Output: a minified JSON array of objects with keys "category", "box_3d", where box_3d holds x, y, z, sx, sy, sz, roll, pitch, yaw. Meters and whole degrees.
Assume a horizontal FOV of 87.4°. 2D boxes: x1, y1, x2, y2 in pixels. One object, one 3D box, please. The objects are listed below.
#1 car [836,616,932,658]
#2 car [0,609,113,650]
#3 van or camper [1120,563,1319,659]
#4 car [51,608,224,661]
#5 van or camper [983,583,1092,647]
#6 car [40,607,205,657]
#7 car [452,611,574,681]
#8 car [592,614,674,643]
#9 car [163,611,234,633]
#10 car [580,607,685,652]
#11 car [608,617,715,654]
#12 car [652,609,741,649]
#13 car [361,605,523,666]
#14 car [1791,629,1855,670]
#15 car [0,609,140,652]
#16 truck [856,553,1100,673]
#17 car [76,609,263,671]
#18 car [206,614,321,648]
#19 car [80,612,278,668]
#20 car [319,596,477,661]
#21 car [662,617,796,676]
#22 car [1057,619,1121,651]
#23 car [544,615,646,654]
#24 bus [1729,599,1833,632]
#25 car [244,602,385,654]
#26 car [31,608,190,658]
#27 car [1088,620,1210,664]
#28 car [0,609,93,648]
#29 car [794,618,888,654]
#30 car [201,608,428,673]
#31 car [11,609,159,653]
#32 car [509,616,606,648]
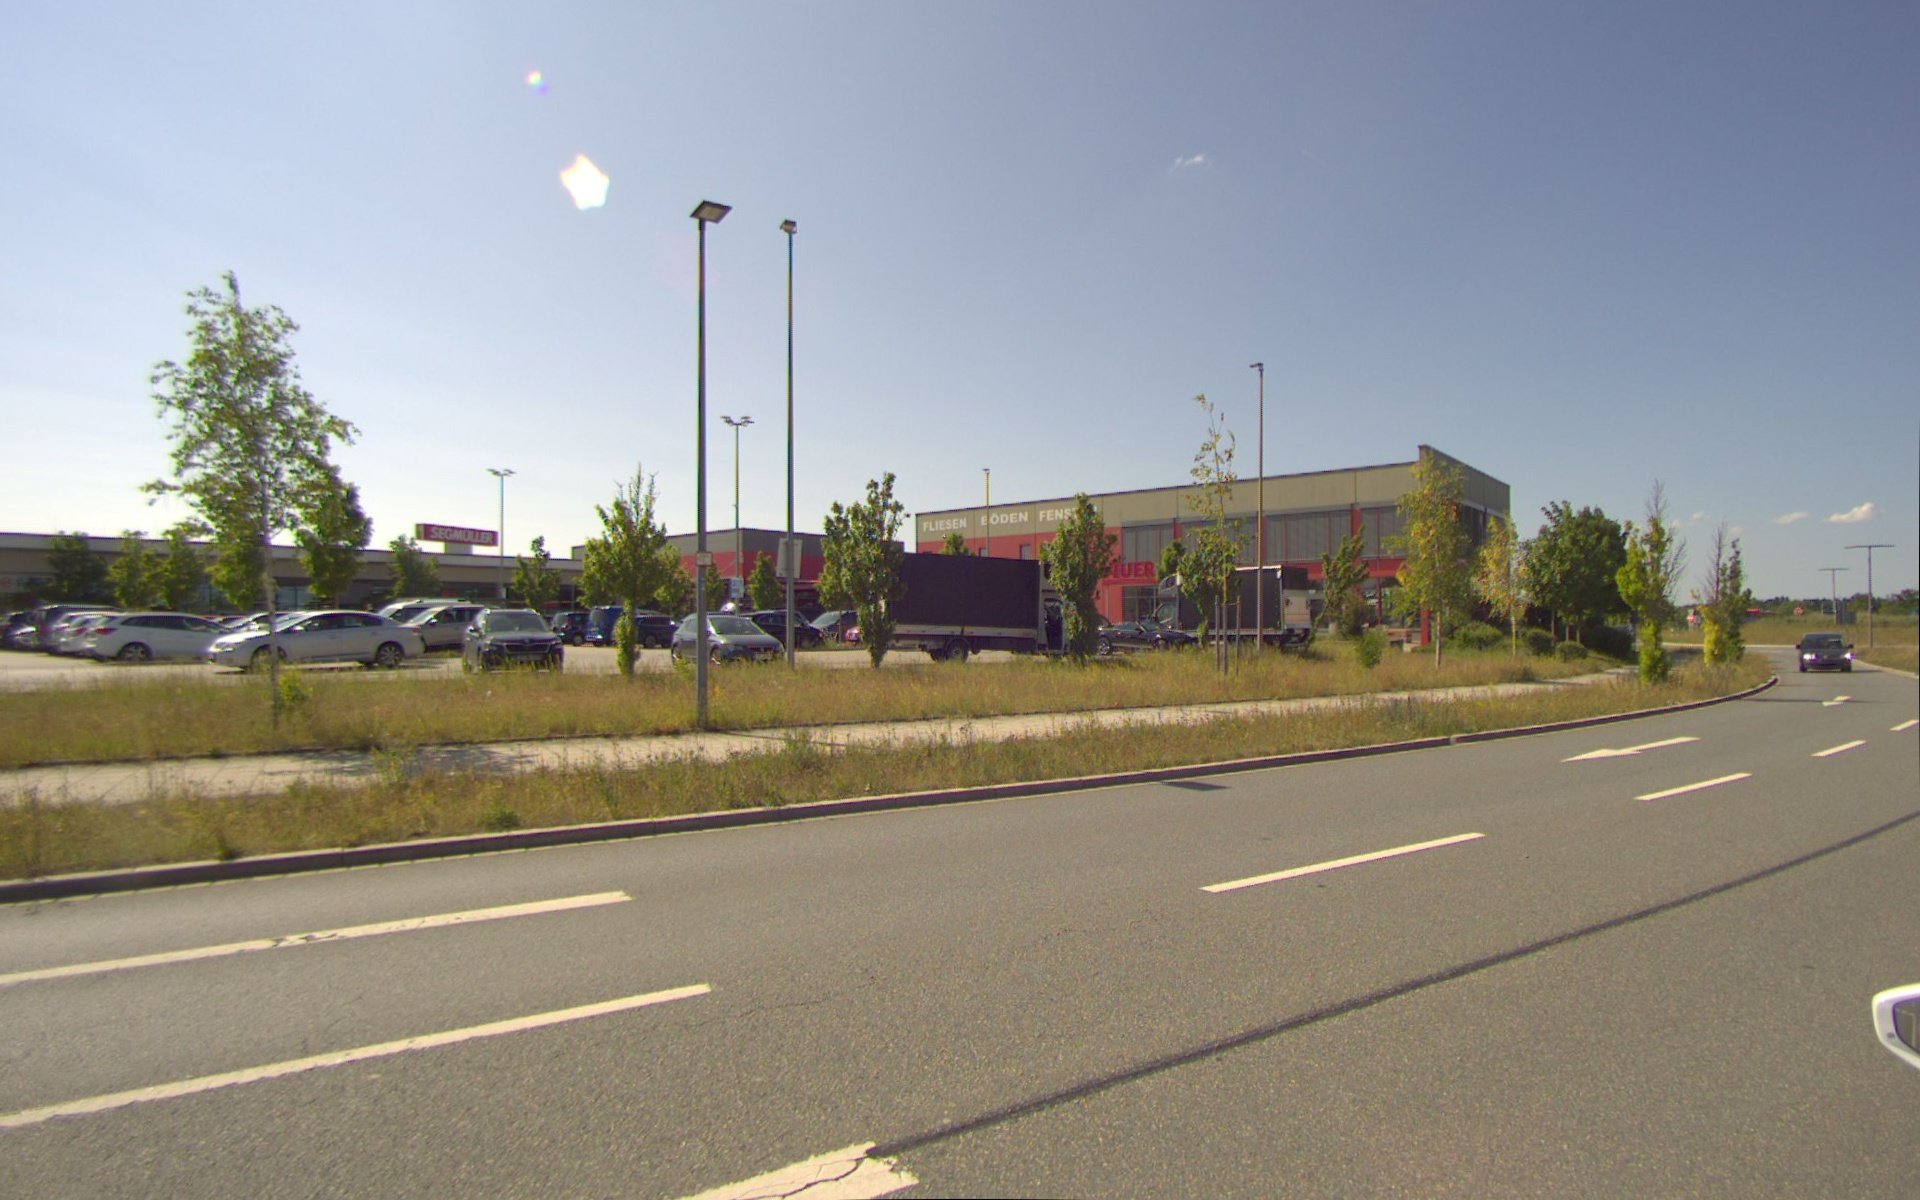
[{"category":"car","box_3d":[-3.341,1.623,44.750,1.809,1.796,4.364,-1,-2,38]},{"category":"car","box_3d":[-41.339,1.328,45.364,1.887,1.762,4.366,-1,-2,36]},{"category":"van or camper","box_3d":[10.300,0.503,40.618,2.539,3.514,7.616,2,-2,-44]},{"category":"car","box_3d":[-29.107,1.208,35.713,1.884,1.740,4.373,-1,-2,30]},{"category":"van or camper","box_3d":[4.398,0.904,55.789,2.400,3.314,7.203,-1,-2,39]},{"category":"car","box_3d":[-31.084,1.176,37.393,1.886,1.749,4.368,-1,-2,35]},{"category":"car","box_3d":[-10.609,1.037,23.654,1.819,1.477,4.547,1,-2,-34]},{"category":"car","box_3d":[-19.225,1.672,59.199,1.809,1.634,4.364,-1,-2,38]},{"category":"car","box_3d":[-62.613,1.831,82.679,1.889,1.814,4.360,-1,-2,41]},{"category":"car","box_3d":[-15.229,1.387,46.893,1.811,2.021,4.360,-1,-2,41]},{"category":"car","box_3d":[-13.332,1.579,45.102,1.809,1.583,4.364,-1,-2,38]},{"category":"car","box_3d":[-13.940,1.540,53.259,1.809,2.021,4.364,-1,-2,38]},{"category":"car","box_3d":[-16.821,1.142,32.799,1.811,1.847,4.360,-1,-2,41]},{"category":"car","box_3d":[40.187,2.300,46.853,1.927,1.818,4.409,-3,-3,37]},{"category":"car","box_3d":[-38.703,1.320,43.713,1.887,1.740,4.366,-1,-2,36]},{"category":"truck","box_3d":[0.570,0.452,31.685,7.373,3.510,2.316,1,-1,-17]},{"category":"car","box_3d":[-24.958,1.234,31.839,1.889,1.827,4.360,-1,-2,41]},{"category":"car","box_3d":[-34.140,1.511,49.314,1.811,1.613,4.360,-1,-2,41]},{"category":"car","box_3d":[-23.038,1.166,29.777,1.811,1.532,4.360,-1,-2,41]},{"category":"car","box_3d":[-19.179,0.989,34.413,1.811,2.092,4.360,-1,-2,41]},{"category":"car","box_3d":[-6.128,1.167,26.321,1.955,1.402,4.396,1,-2,-34]},{"category":"car","box_3d":[6.993,1.871,54.088,1.640,1.693,4.068,-1,-2,37]},{"category":"car","box_3d":[-17.744,1.660,48.954,1.811,1.796,4.360,-1,-2,41]},{"category":"bus","box_3d":[87.326,1.650,106.805,12.015,3.120,2.784,-2,-1,-20]},{"category":"car","box_3d":[-26.876,1.176,41.946,1.811,2.051,4.611,-1,-2,41]},{"category":"car","box_3d":[-32.712,1.253,38.770,1.887,1.817,4.366,-1,-2,36]},{"category":"car","box_3d":[7.111,1.569,38.075,4.323,1.572,1.827,-1,-2,45]},{"category":"car","box_3d":[-43.502,1.336,46.818,1.887,1.783,4.366,-1,-2,36]},{"category":"car","box_3d":[-5.456,1.668,46.632,1.809,1.583,4.364,-1,-2,38]},{"category":"car","box_3d":[-16.403,1.015,25.721,1.812,1.532,4.596,-1,-2,42]},{"category":"car","box_3d":[-36.646,1.296,42.167,1.887,1.747,4.366,-1,-2,36]},{"category":"car","box_3d":[-20.880,1.671,52.198,1.811,1.613,4.360,-1,-2,41]}]
